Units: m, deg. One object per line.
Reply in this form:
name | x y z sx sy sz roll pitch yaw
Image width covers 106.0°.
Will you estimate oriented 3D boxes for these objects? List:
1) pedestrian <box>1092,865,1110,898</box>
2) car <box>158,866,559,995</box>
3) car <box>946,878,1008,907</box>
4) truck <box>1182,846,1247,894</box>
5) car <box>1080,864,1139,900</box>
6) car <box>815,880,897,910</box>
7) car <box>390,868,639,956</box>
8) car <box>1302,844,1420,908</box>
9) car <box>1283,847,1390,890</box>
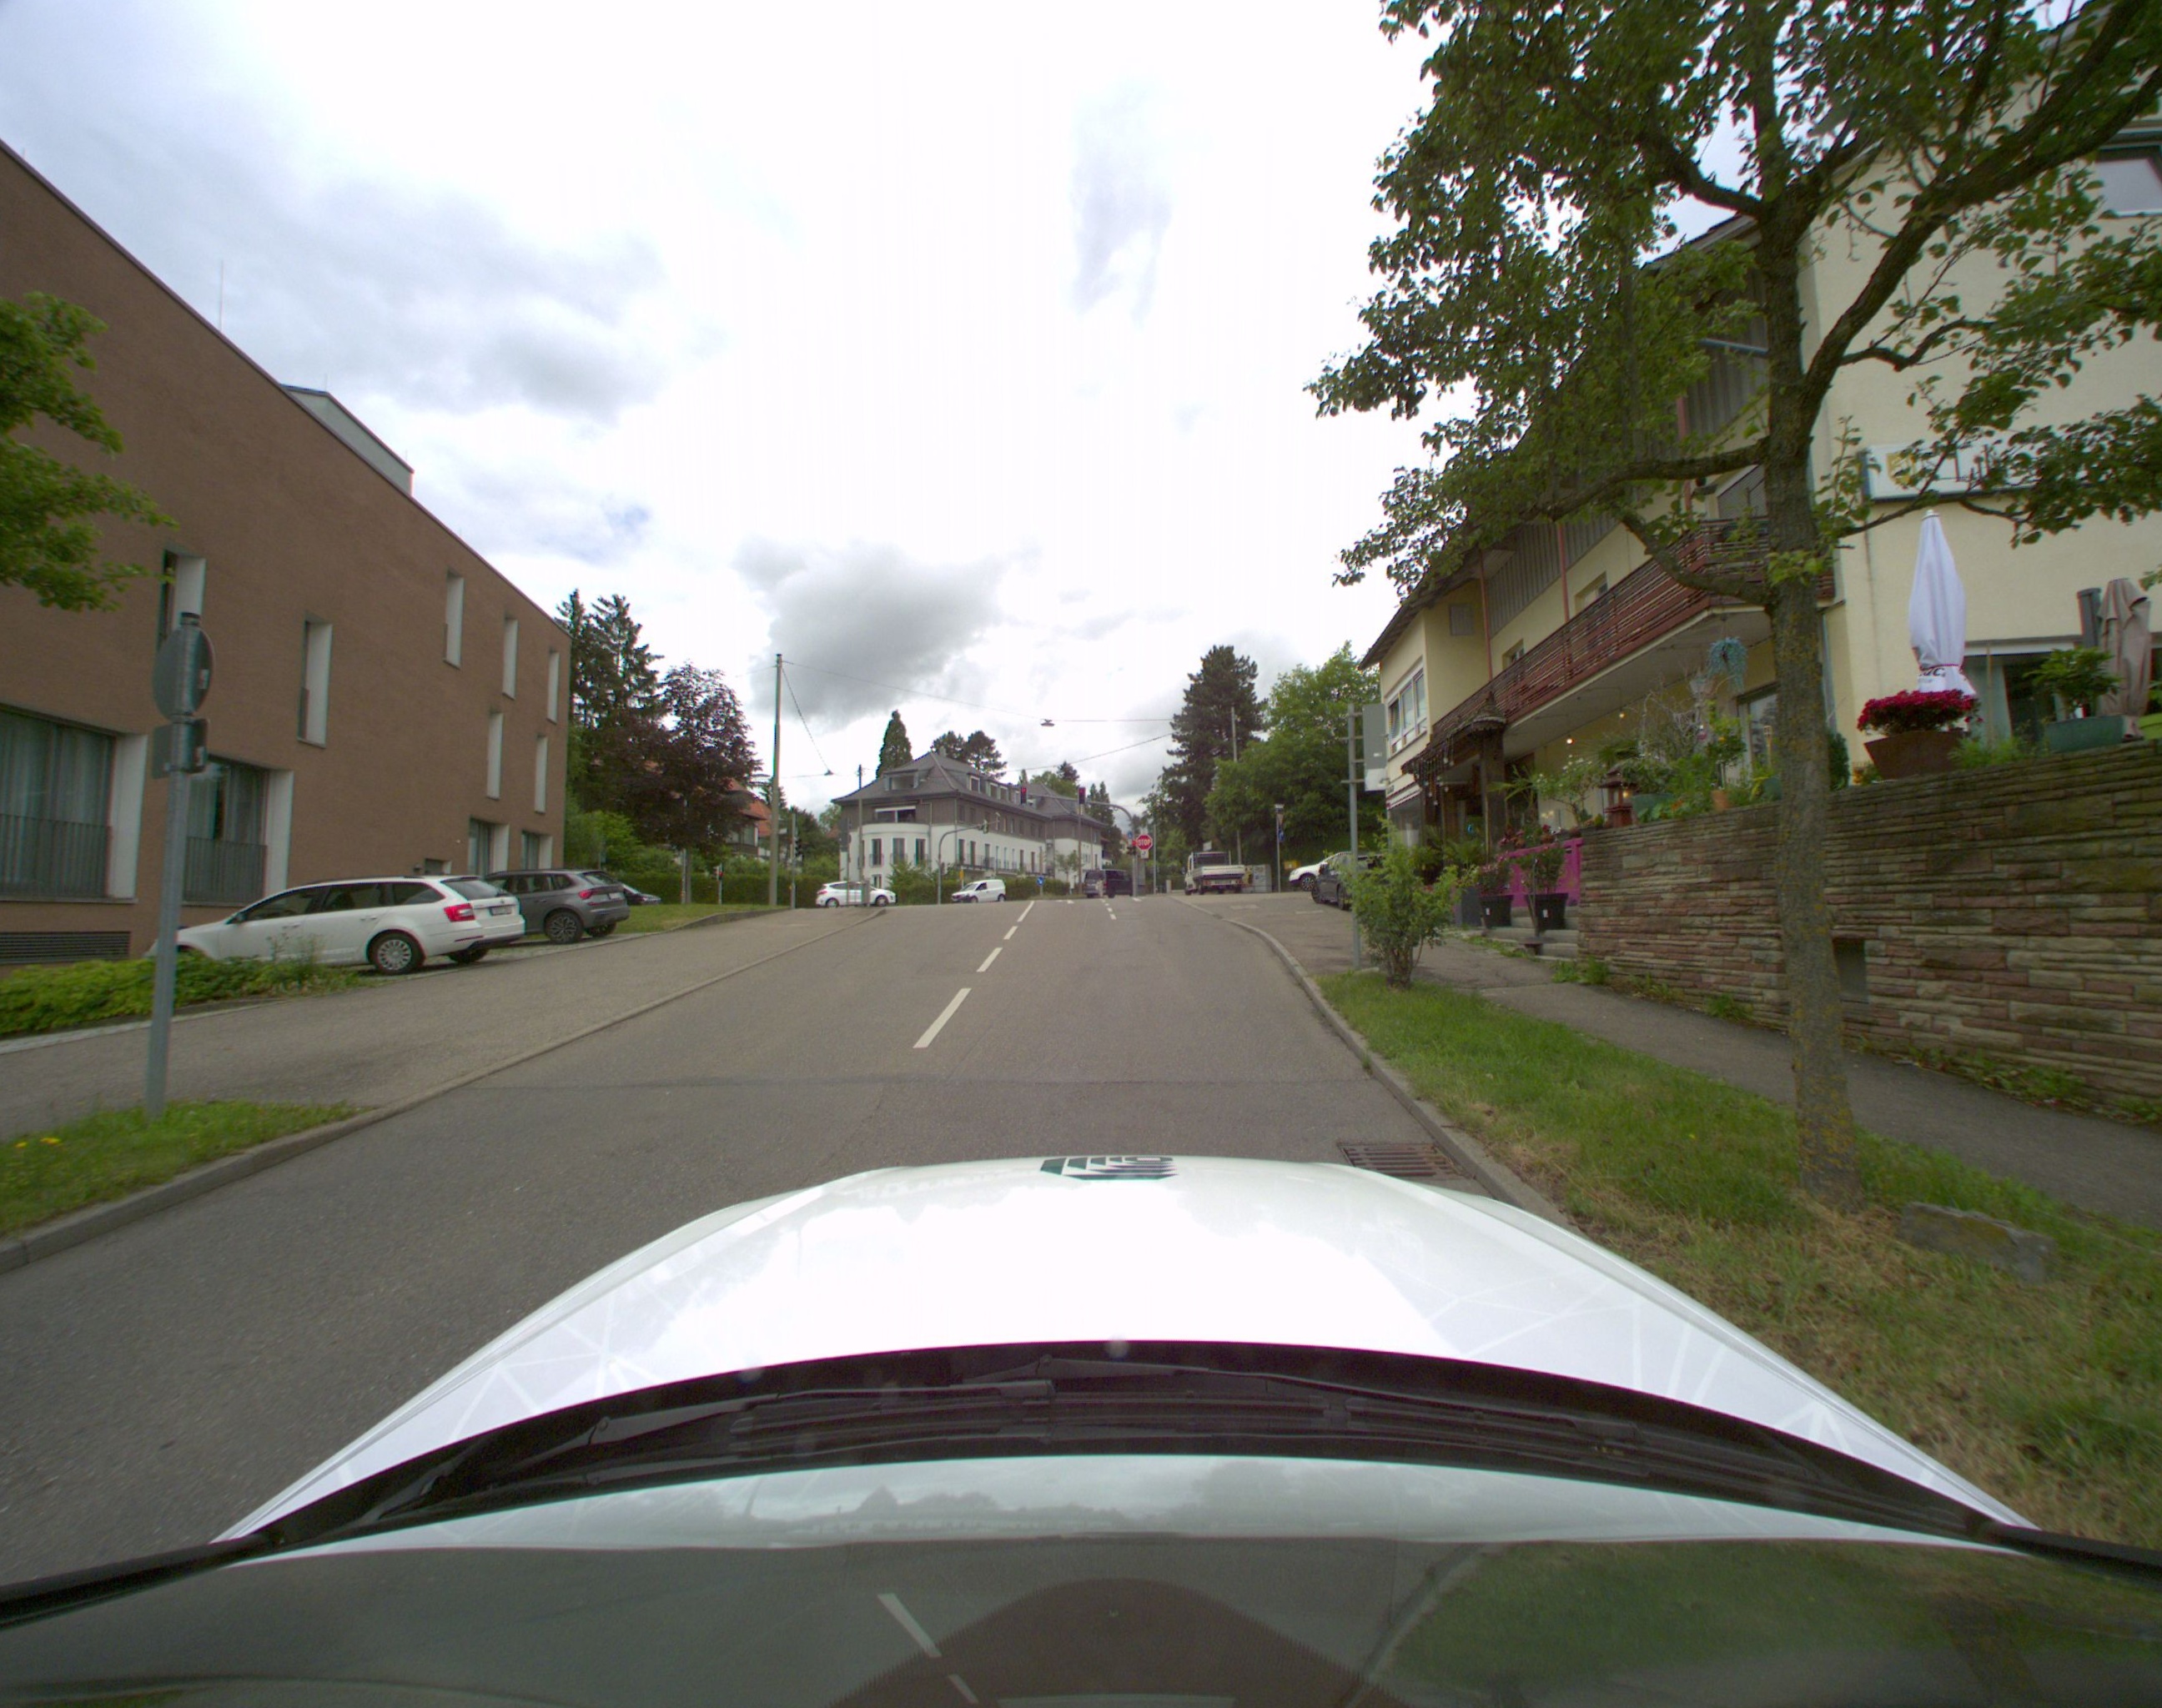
pedestrian | 1.061 1.447 43.159 0.702 1.682 0.680 -1 -1 -27
car | -10.932 1.106 12.651 4.252 1.623 2.010 -3 -2 -5
car | -7.418 2.733 58.582 1.974 1.857 4.381 -1 -1 35
truck | 6.731 0.904 41.791 2.178 2.195 5.875 -1 -3 -2
car | 2.023 1.892 55.532 1.974 2.013 4.539 -3 2 31
car | -11.787 2.129 42.671 4.001 1.383 1.923 -1 0 -21
car | -11.491 1.135 16.782 3.759 1.464 1.727 -3 0 -9
car | 7.481 0.570 22.227 1.841 1.472 4.389 -4 -1 3
car | 10.964 0.663 34.935 4.204 1.594 1.998 -3 -4 21
